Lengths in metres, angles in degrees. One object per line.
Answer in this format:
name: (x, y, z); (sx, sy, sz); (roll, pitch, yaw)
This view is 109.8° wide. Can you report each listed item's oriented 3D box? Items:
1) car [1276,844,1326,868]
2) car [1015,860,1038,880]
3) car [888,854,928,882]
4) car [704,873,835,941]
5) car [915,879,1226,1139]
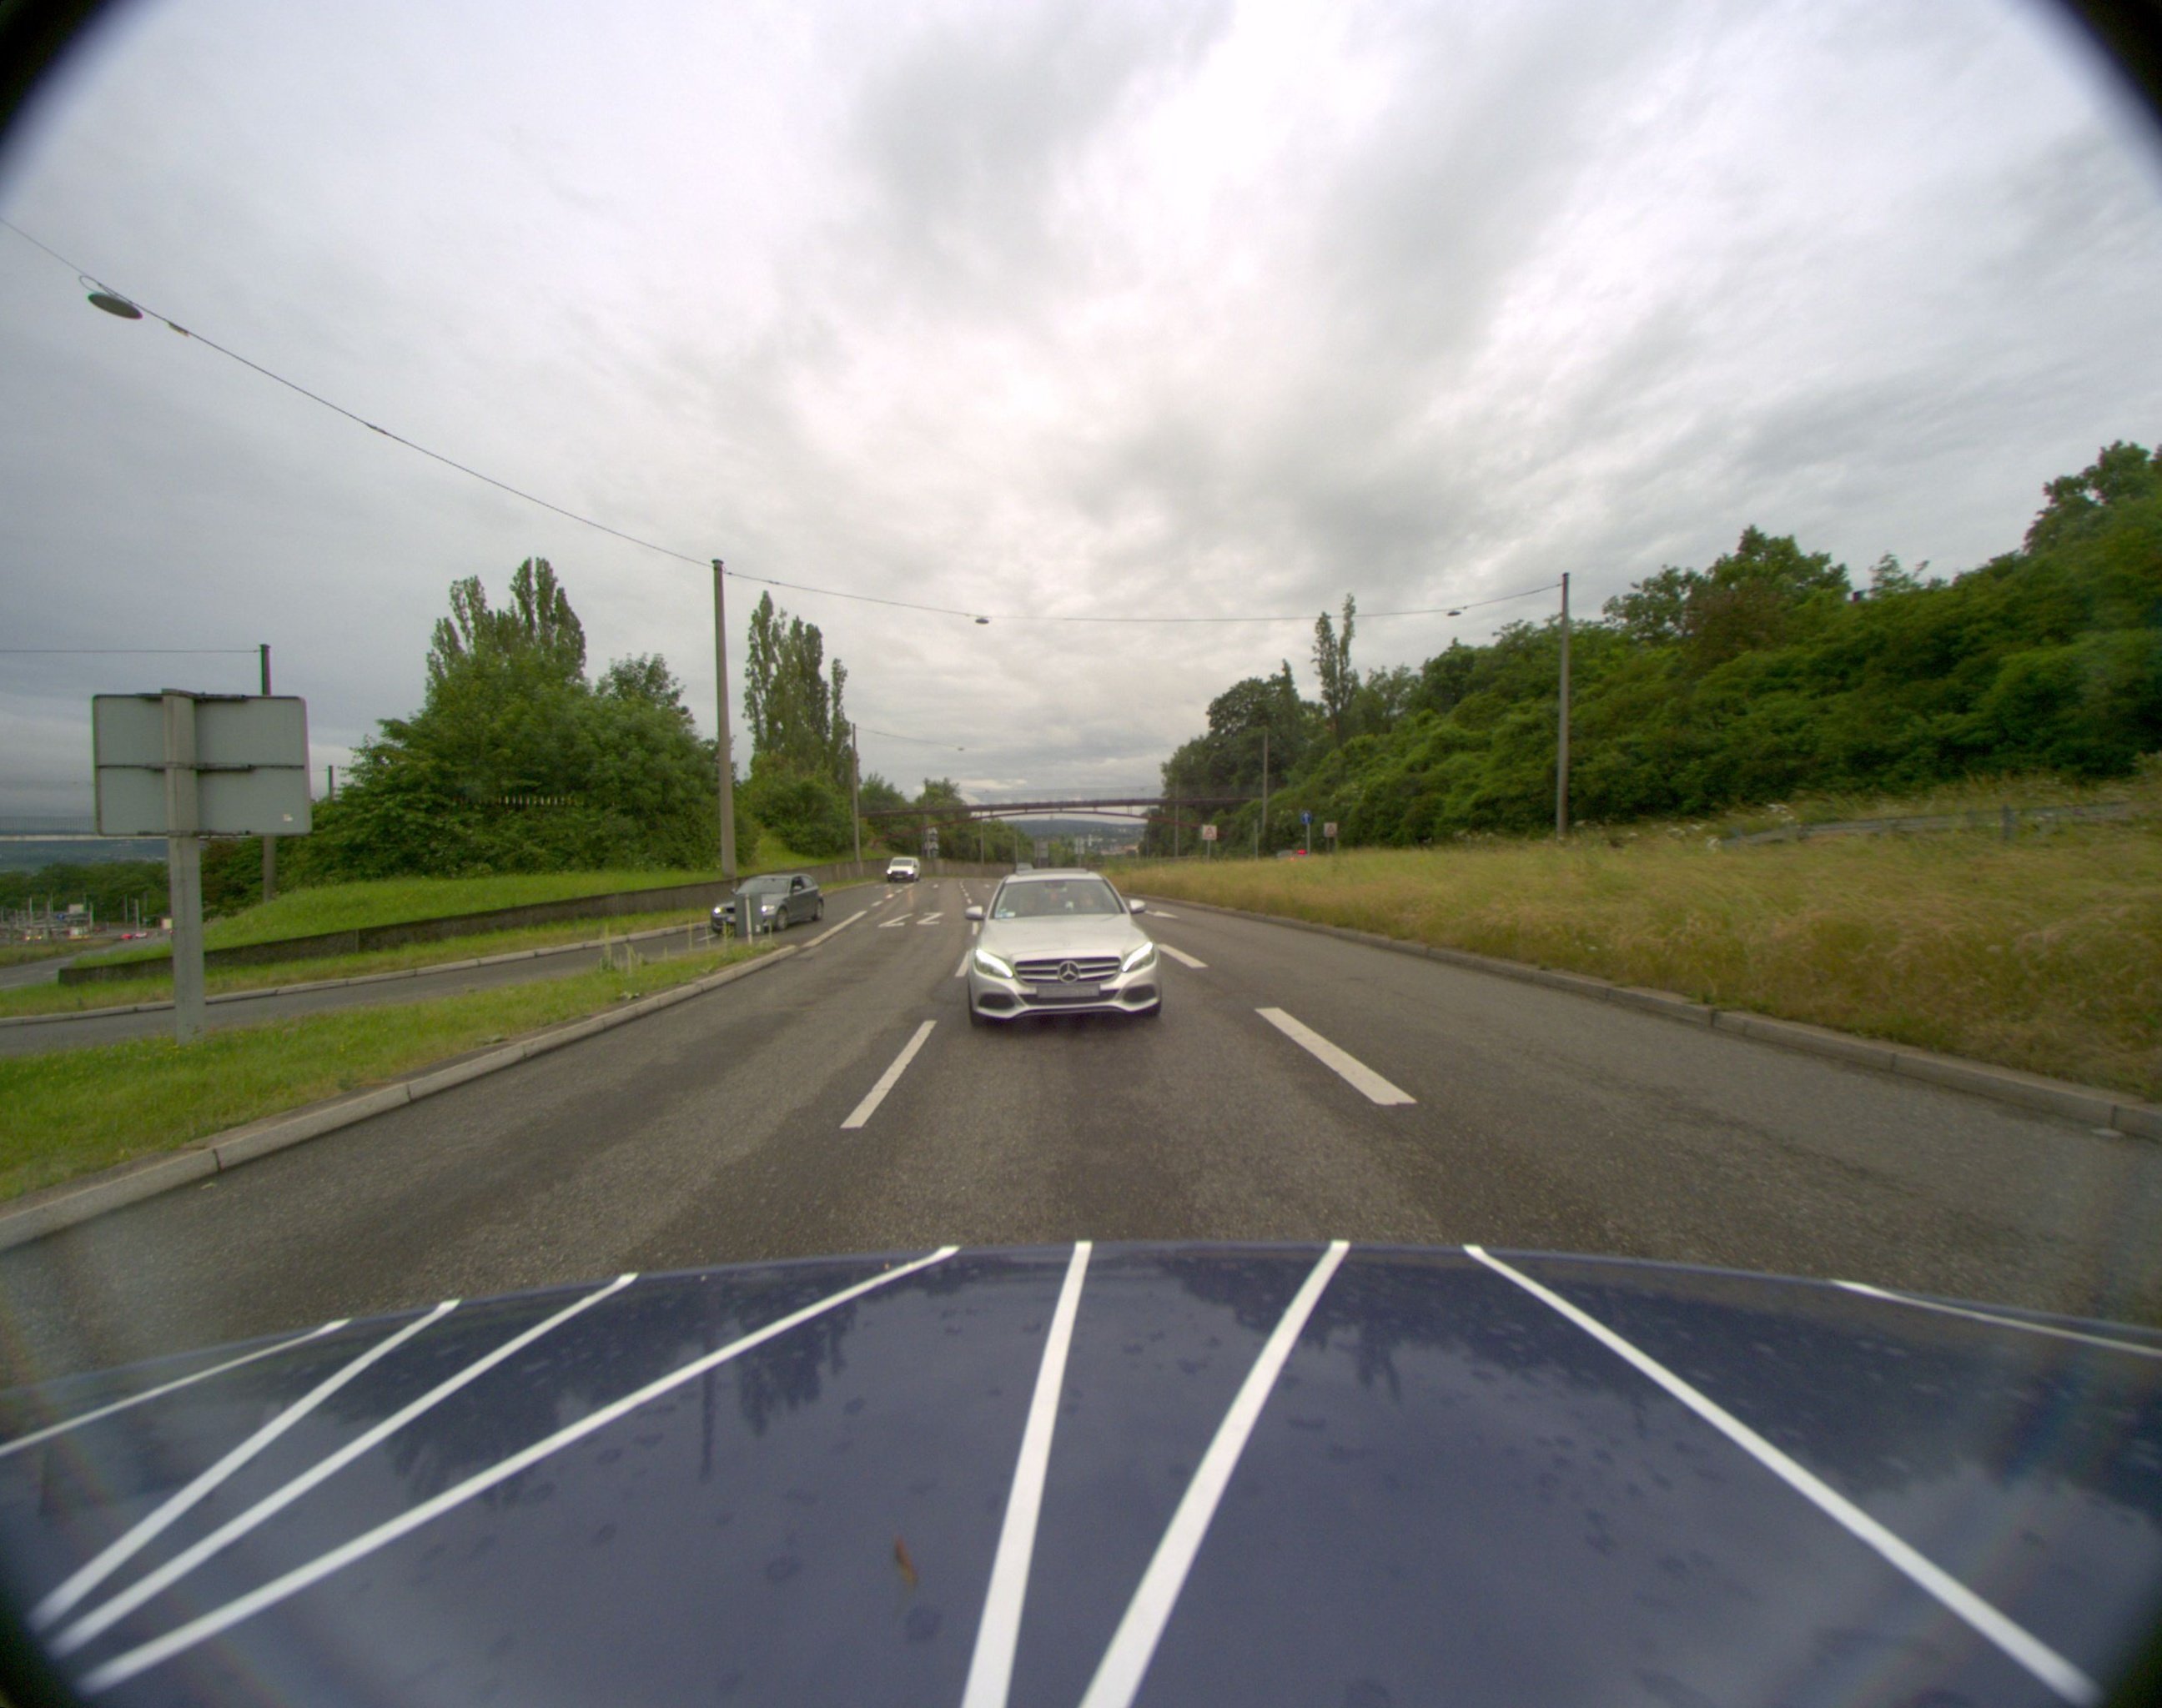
car: (14.313, 0.074, 49.732); (1.999, 1.445, 4.285); (-2, 1, 0)
car: (-4.463, 1.345, 62.512); (1.646, 1.495, 3.779); (-3, -2, -3)
car: (-12.984, 1.025, 57.220); (1.999, 1.837, 4.822); (-3, 1, -2)
car: (-8.142, 1.321, 20.281); (1.684, 1.412, 4.082); (-3, 0, 1)
car: (-0.216, 1.018, 6.778); (1.895, 1.360, 4.132); (-2, 1, -5)
